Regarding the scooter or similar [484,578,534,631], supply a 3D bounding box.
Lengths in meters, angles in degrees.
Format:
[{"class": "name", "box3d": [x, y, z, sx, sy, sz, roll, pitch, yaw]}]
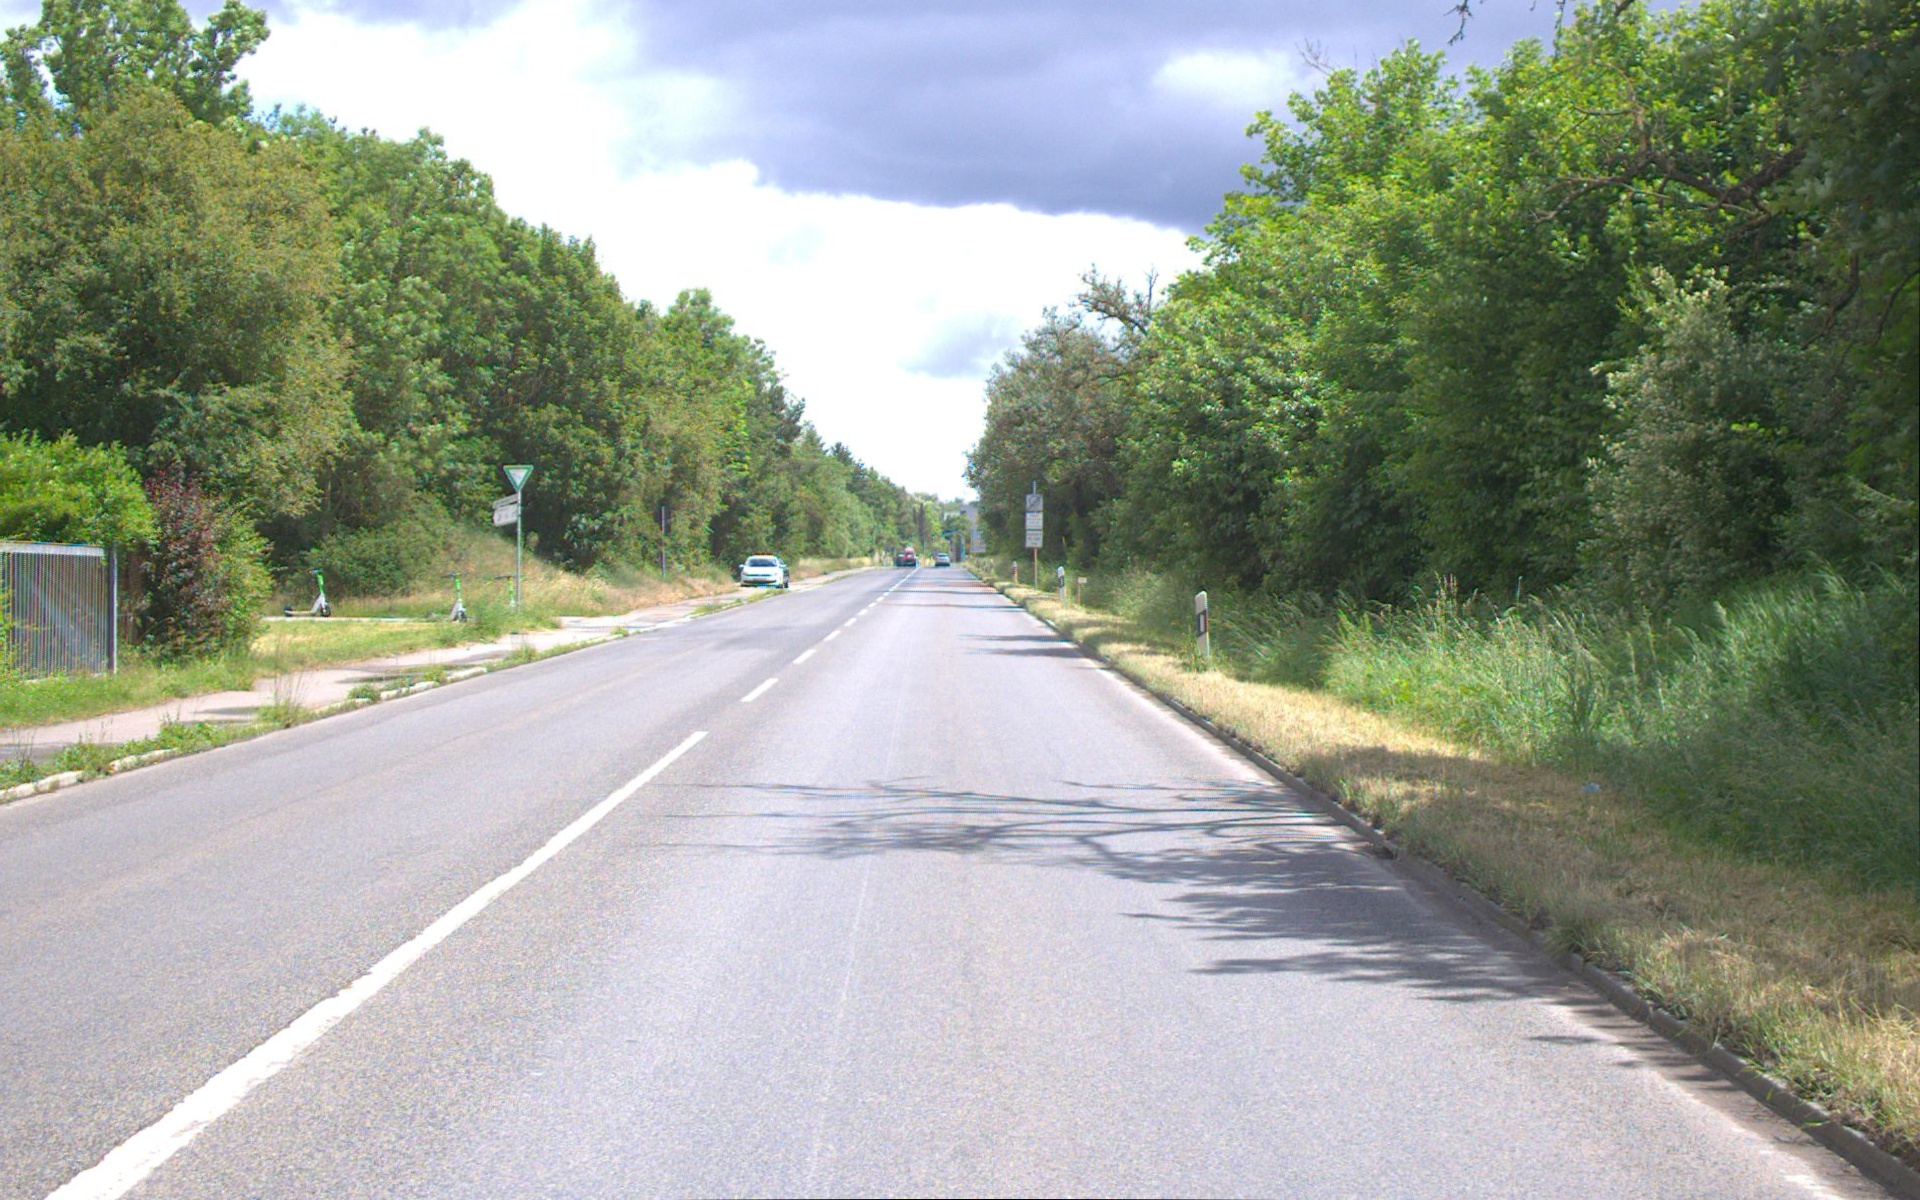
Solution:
[{"class": "scooter or similar", "box3d": [-10.052, 0.091, 76.596, 0.406, 1.165, 1.350, 0, 1, -43]}]

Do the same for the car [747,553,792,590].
[{"class": "car", "box3d": [-8.405, -1.255, 151.994, 1.798, 1.538, 3.955, -1, -1, 0]}]

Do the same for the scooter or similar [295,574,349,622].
[{"class": "scooter or similar", "box3d": [-15.663, -0.045, 84.349, 1.244, 1.165, 0.407, 0, 1, 13]}]
